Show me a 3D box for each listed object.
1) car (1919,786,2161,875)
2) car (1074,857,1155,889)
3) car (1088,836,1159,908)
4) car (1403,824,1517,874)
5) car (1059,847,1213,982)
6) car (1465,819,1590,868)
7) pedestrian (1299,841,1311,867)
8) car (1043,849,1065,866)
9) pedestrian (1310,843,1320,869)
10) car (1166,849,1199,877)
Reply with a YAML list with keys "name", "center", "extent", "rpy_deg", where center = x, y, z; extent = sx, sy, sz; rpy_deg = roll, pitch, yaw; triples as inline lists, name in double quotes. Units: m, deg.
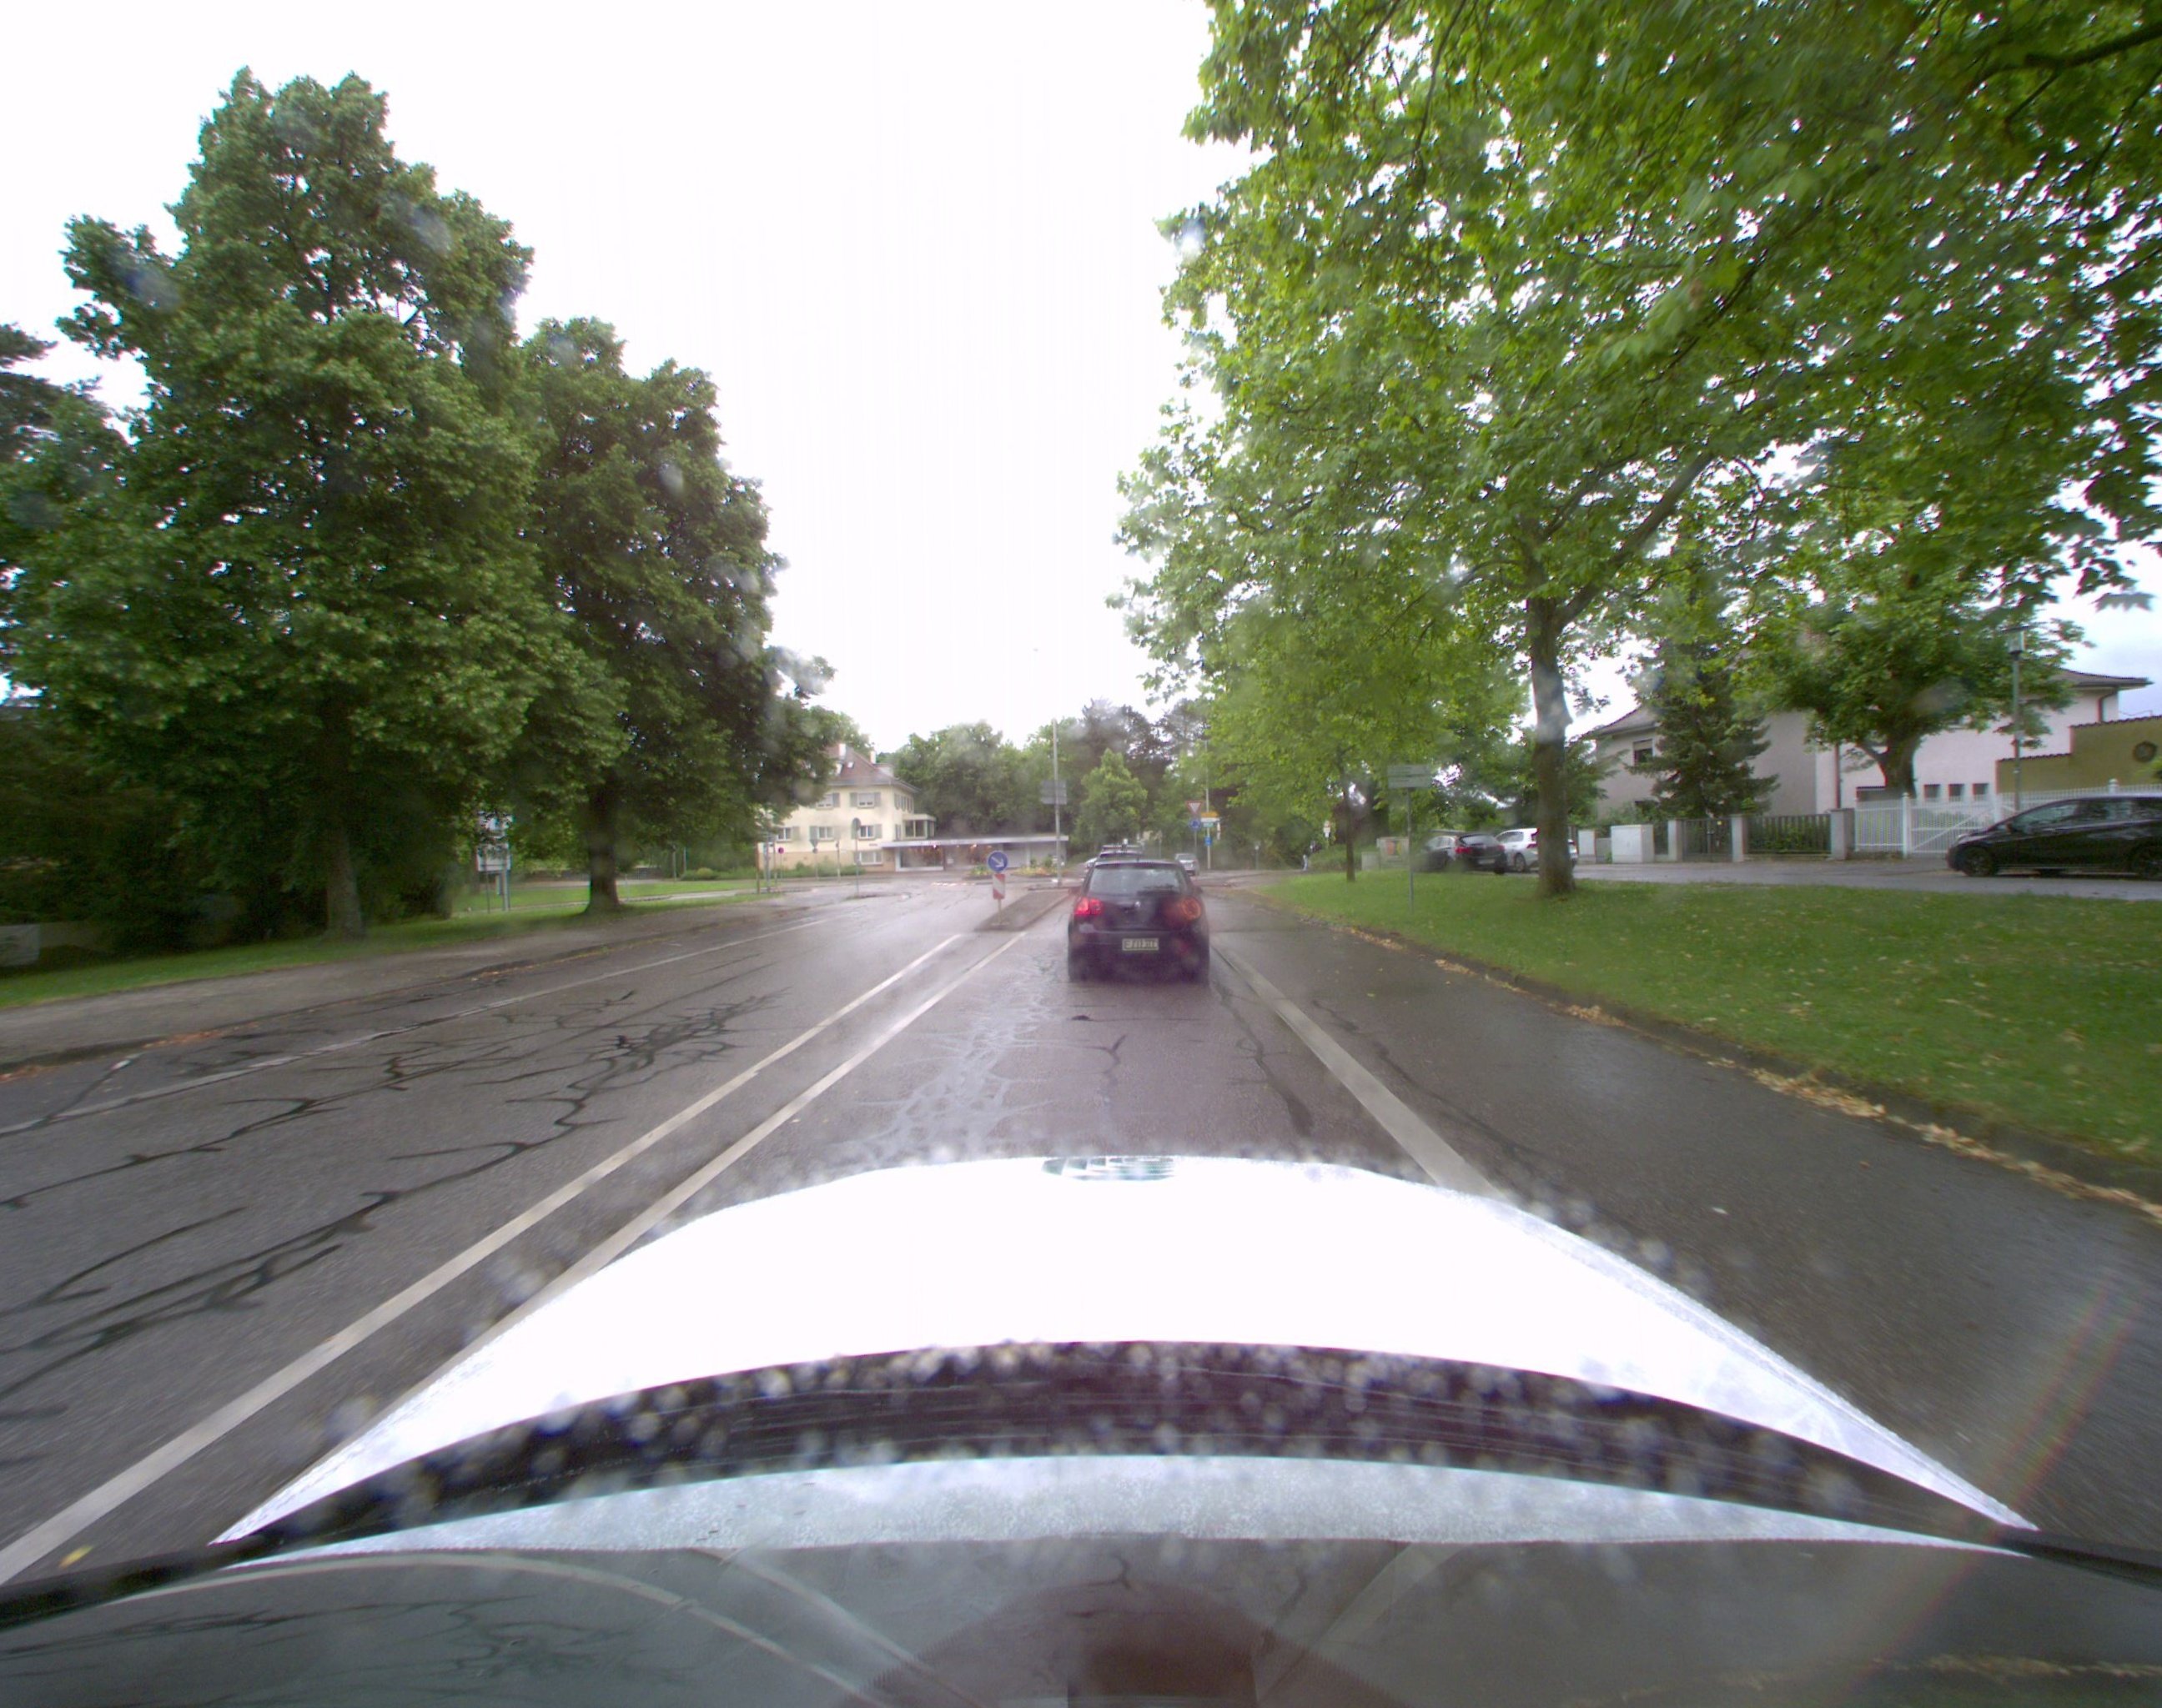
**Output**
- name: "car"
  center: [18.658, -0.384, 15.046]
  extent: [1.756, 1.471, 4.353]
  rpy_deg: [-1, -1, -2]
- name: "car"
  center: [1.821, 1.041, 44.971]
  extent: [4.035, 1.684, 1.986]
  rpy_deg: [0, -1, -22]
- name: "car"
  center: [1.141, 0.490, 23.498]
  extent: [1.759, 1.801, 4.246]
  rpy_deg: [-3, -1, 1]
- name: "car"
  center: [12.875, -0.126, 28.012]
  extent: [1.758, 1.471, 4.598]
  rpy_deg: [-4, -1, 0]
- name: "car"
  center: [0.756, 0.688, 11.333]
  extent: [1.757, 1.538, 4.004]
  rpy_deg: [0, 0, 4]
- name: "car"
  center: [15.324, -0.304, 28.246]
  extent: [1.839, 1.471, 4.424]
  rpy_deg: [-3, -1, 0]
- name: "pedestrian"
  center: [14.887, -0.027, 54.018]
  extent: [0.528, 1.713, 0.633]
  rpy_deg: [0, -1, -13]
- name: "car"
  center: [-2.527, 0.303, 76.694]
  extent: [1.809, 1.486, 3.824]
  rpy_deg: [-3, 0, -5]
- name: "pedestrian"
  center: [15.644, 0.154, 54.477]
  extent: [0.629, 1.713, 0.532]
  rpy_deg: [-1, -1, 18]
- name: "car"
  center: [6.552, 0.611, 53.040]
  extent: [1.984, 1.741, 4.149]
  rpy_deg: [0, -1, 5]
